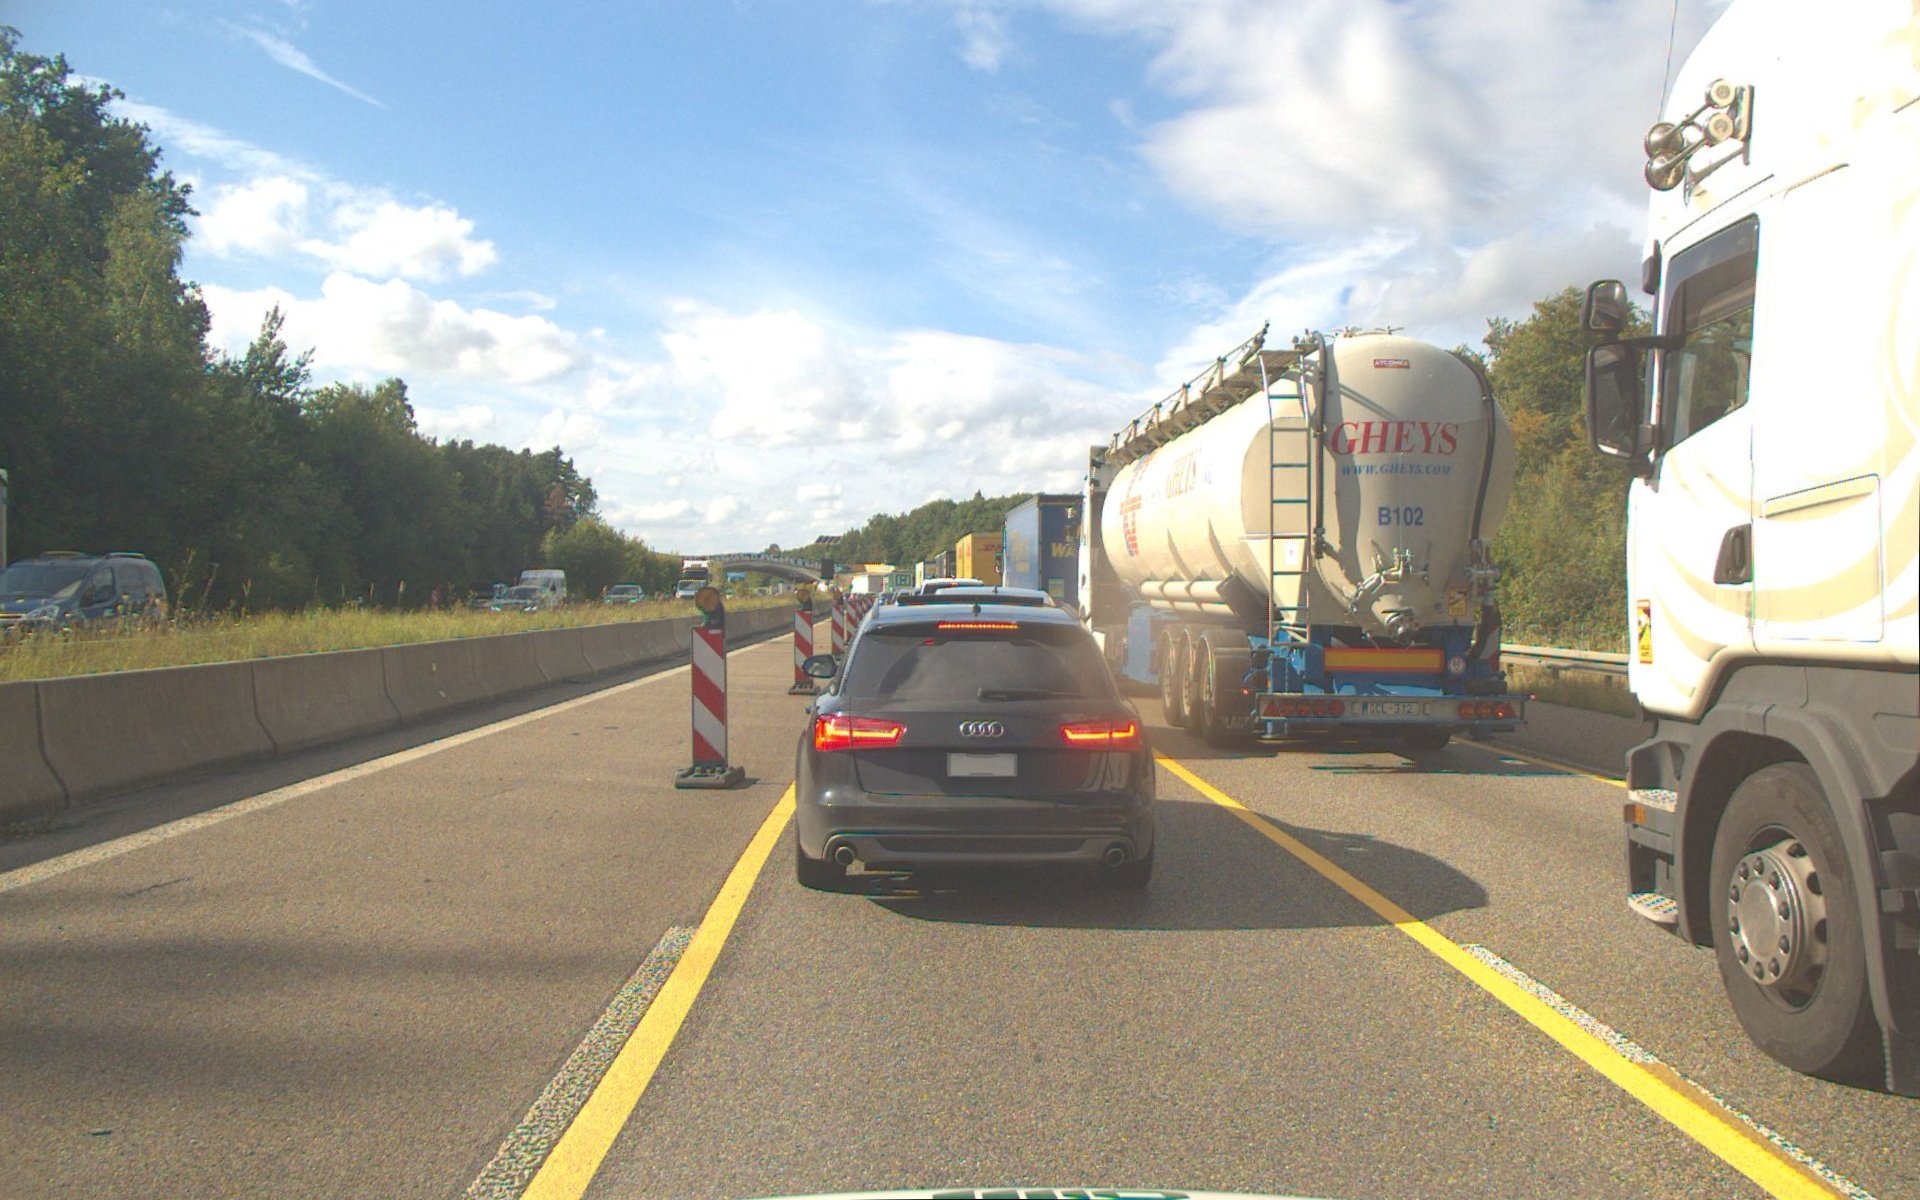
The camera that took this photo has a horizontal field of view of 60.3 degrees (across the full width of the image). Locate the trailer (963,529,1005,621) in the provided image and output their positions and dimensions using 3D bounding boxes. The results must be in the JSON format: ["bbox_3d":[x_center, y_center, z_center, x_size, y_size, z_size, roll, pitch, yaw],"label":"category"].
[{"bbox_3d":[1.051,-1.074,75.646,1.584,3.987,6.487,1,0,-2],"label":"trailer"}]

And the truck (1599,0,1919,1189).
[{"bbox_3d":[3.976,-0.380,3.817,2.614,4.029,5.709,1,0,-2],"label":"truck"}]

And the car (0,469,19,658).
[{"bbox_3d":[-18.583,-0.699,26.850,2.436,3.429,7.450,1,0,-1],"label":"car"}]

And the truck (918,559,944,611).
[{"bbox_3d":[-2.529,-1.210,142.623,2.094,4.332,7.069,1,0,-1],"label":"truck"}]

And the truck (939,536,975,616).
[{"bbox_3d":[-0.269,-1.529,109.286,1.953,5.000,9.558,1,0,-2],"label":"truck"}]

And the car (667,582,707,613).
[{"bbox_3d":[-18.697,-0.170,113.471,1.953,2.049,4.830,1,0,-1],"label":"car"}]

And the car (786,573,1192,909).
[{"bbox_3d":[0.104,0.628,9.460,1.811,1.489,3.999,1,0,-1],"label":"car"}]

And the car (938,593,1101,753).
[{"bbox_3d":[0.532,0.684,17.041,1.493,1.464,3.284,1,0,-1],"label":"car"}]

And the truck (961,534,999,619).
[{"bbox_3d":[0.945,-1.097,79.553,1.577,3.965,4.070,1,0,-2],"label":"truck"}]

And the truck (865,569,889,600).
[{"bbox_3d":[-11.837,-2.183,235.678,3.239,4.247,9.694,1,0,-4],"label":"truck"}]

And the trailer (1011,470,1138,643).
[{"bbox_3d":[3.176,-1.123,48.598,2.748,4.490,10.430,1,0,-1],"label":"trailer"}]

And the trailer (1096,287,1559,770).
[{"bbox_3d":[3.615,-0.616,20.215,2.590,4.012,12.595,1,0,-1],"label":"trailer"}]

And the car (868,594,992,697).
[{"bbox_3d":[-0.451,0.645,25.188,1.716,1.421,3.607,1,0,-1],"label":"car"}]

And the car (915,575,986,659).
[{"bbox_3d":[-0.240,0.386,38.529,1.549,1.869,3.111,1,0,-1],"label":"car"}]

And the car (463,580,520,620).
[{"bbox_3d":[-24.994,-0.008,88.375,1.953,2.049,3.999,1,0,-1],"label":"car"}]

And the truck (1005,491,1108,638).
[{"bbox_3d":[3.072,-1.074,54.606,2.749,4.446,7.790,1,0,-1],"label":"truck"}]

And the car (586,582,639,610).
[{"bbox_3d":[-18.178,-0.189,86.637,1.918,1.386,4.287,1,0,-1],"label":"car"}]

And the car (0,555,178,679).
[{"bbox_3d":[-14.650,0.253,26.898,1.905,1.844,4.118,1,0,-1],"label":"car"}]

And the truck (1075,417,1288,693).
[{"bbox_3d":[3.486,-0.655,27.434,2.605,4.041,5.777,1,0,-1],"label":"truck"}]

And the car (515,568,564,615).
[{"bbox_3d":[-24.954,-0.504,98.238,2.208,2.689,5.010,1,0,-8],"label":"car"}]

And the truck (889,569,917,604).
[{"bbox_3d":[-7.065,-1.637,204.660,3.238,4.248,9.696,1,0,-3],"label":"truck"}]

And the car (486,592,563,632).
[{"bbox_3d":[-16.250,0.453,61.919,1.743,1.411,4.309,1,0,-1],"label":"car"}]
